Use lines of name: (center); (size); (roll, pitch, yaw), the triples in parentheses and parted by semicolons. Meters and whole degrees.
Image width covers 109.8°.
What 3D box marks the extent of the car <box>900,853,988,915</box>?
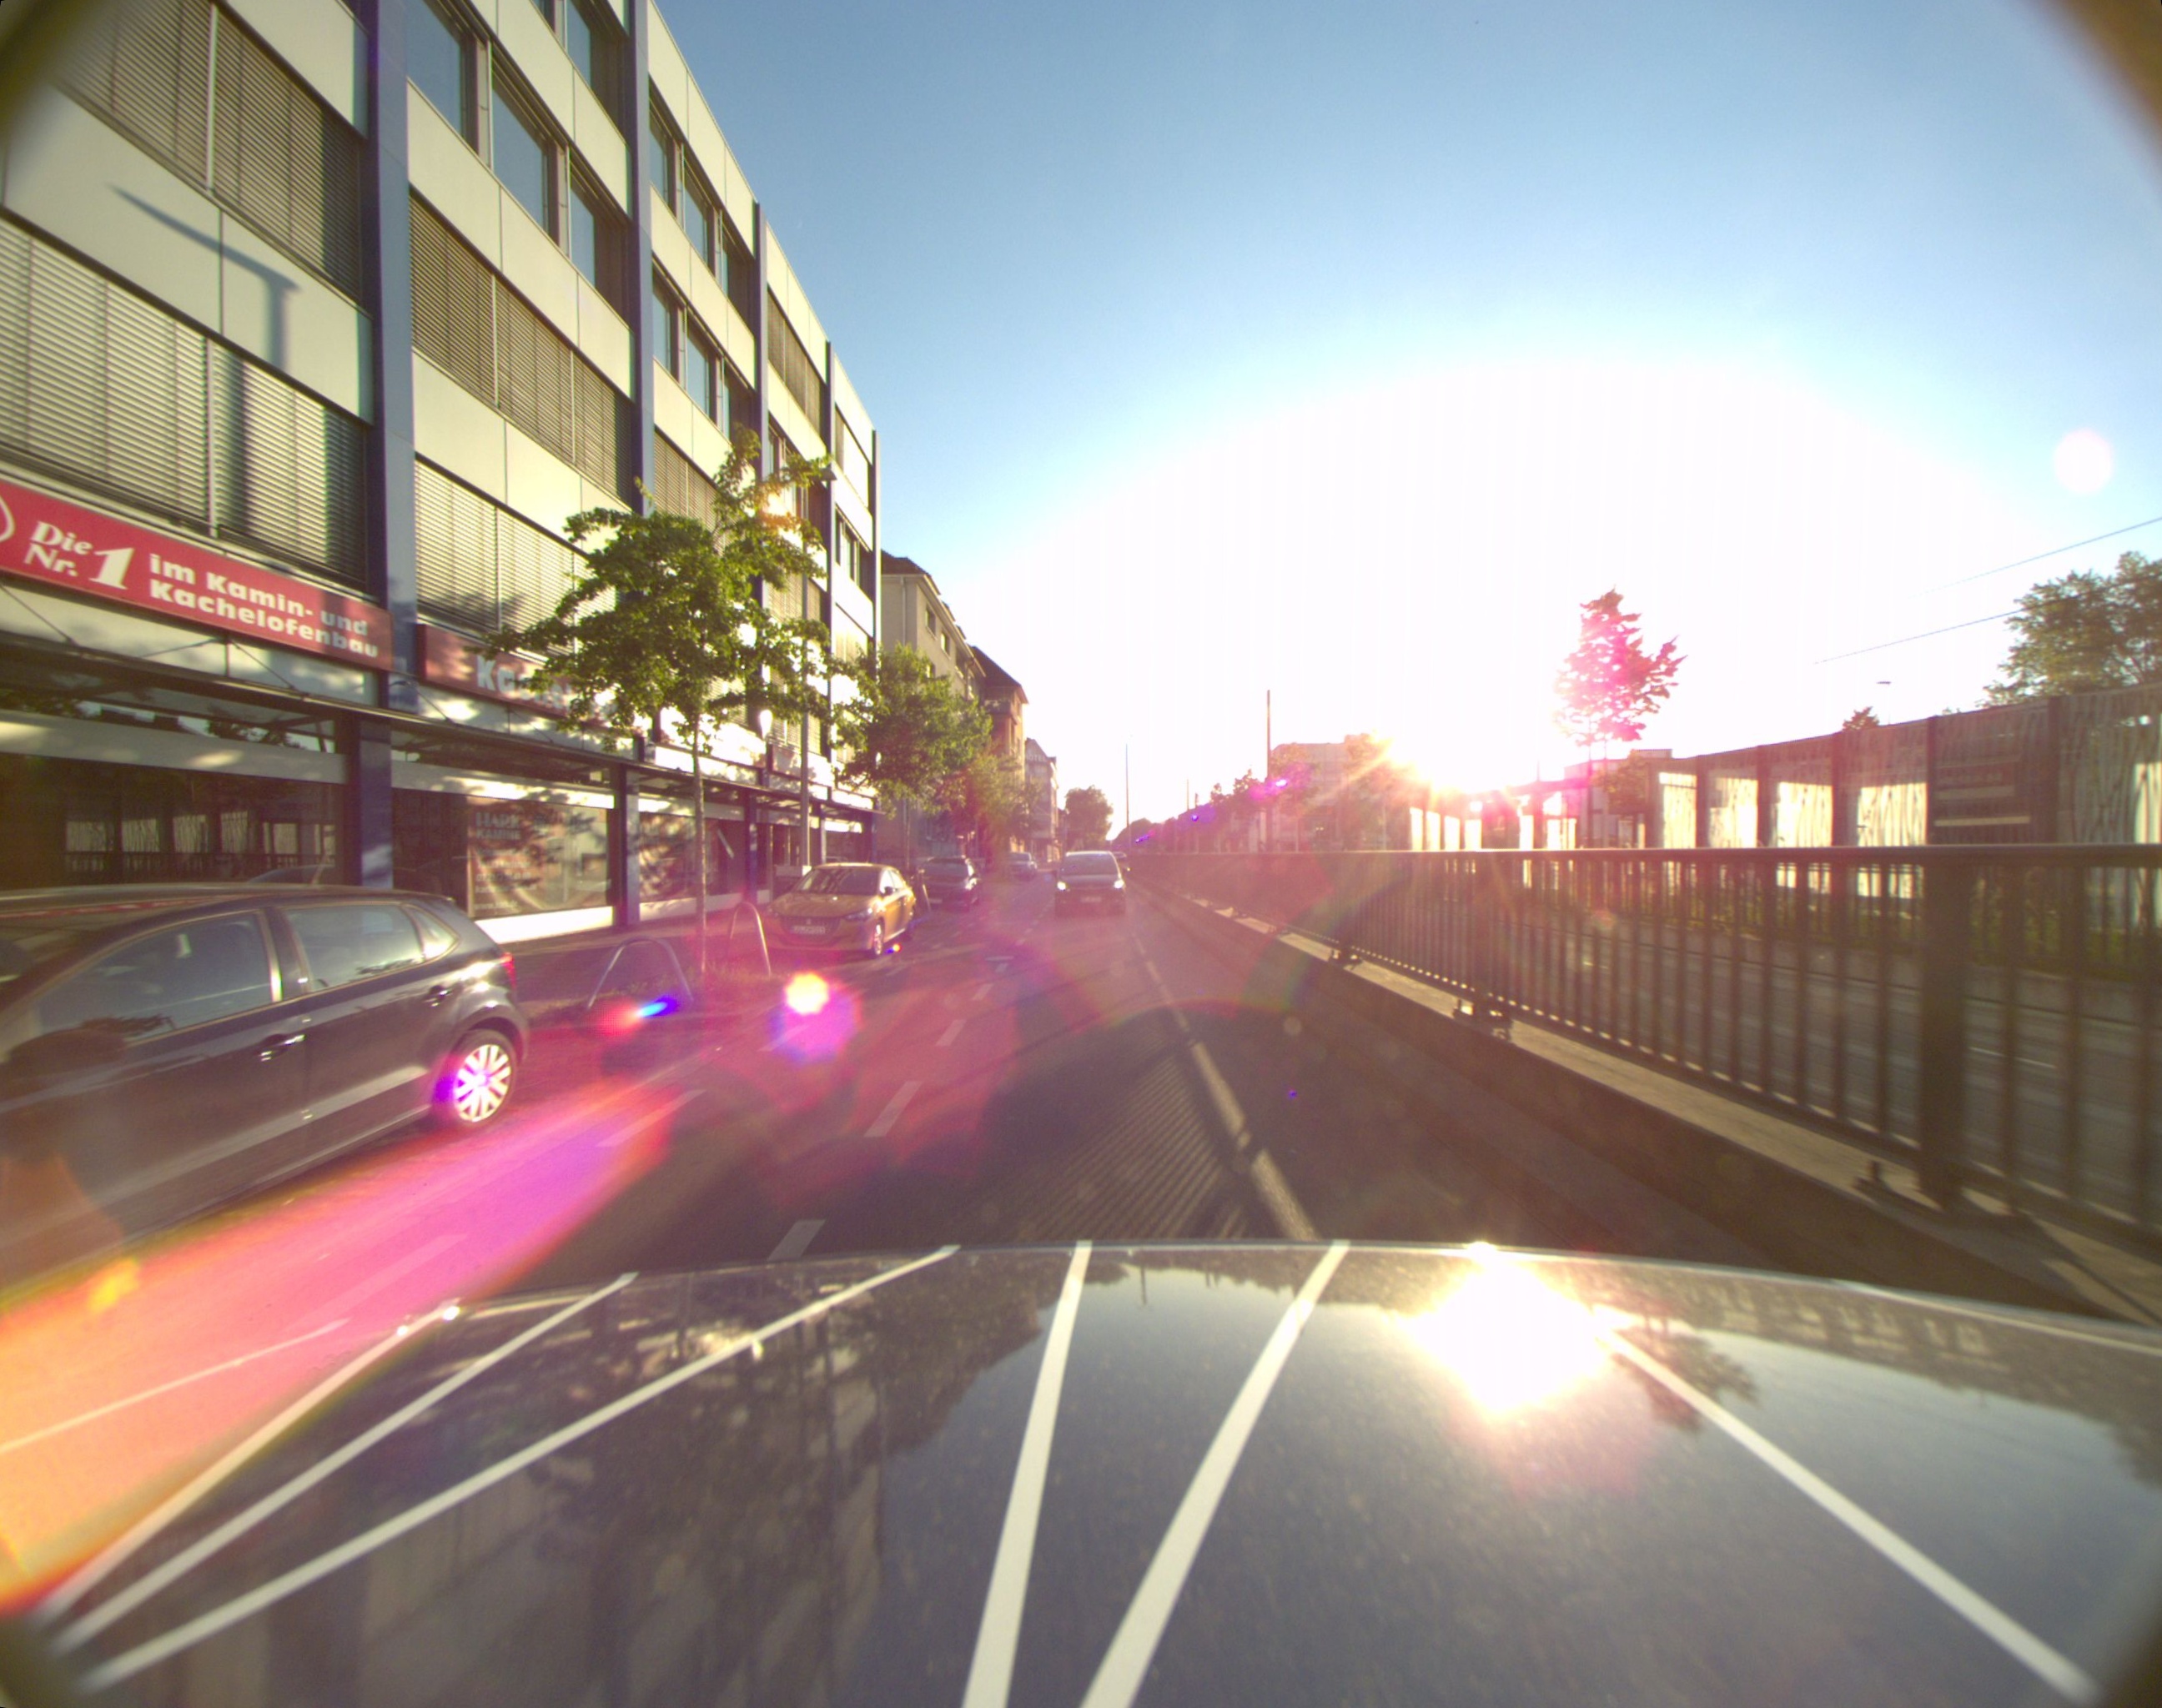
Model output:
car: (-3.973, 0.817, 22.839); (1.824, 1.557, 4.809); (3, 0, -1)

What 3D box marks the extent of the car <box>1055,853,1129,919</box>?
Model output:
car: (0.264, 0.782, 20.682); (1.800, 1.609, 4.386); (0, 0, 0)

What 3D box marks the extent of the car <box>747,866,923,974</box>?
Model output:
car: (-3.965, 0.986, 13.000); (1.688, 1.446, 4.129); (0, 1, 0)

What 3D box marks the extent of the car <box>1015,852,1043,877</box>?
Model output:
car: (-3.467, 0.670, 51.110); (1.674, 1.509, 3.600); (3, 0, -1)

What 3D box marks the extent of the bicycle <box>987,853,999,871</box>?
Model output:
bicycle: (-5.824, 0.544, 50.488); (0.555, 1.123, 1.973); (3, 1, -1)

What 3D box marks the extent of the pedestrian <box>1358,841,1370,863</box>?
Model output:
pedestrian: (22.913, -0.149, 61.554); (0.696, 1.788, 0.817); (-1, 1, 3)

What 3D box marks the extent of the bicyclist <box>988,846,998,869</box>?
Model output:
bicyclist: (-5.815, 0.221, 50.435); (0.559, 1.467, 0.622); (3, 1, -1)

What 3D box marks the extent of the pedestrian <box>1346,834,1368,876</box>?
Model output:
pedestrian: (11.509, 0.039, 31.680); (0.636, 1.719, 0.635); (0, 1, -12)

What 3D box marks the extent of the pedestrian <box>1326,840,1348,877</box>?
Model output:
pedestrian: (12.132, 0.219, 36.031); (0.727, 1.734, 0.636); (-1, 0, -7)

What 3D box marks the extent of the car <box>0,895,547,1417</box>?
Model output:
car: (-4.277, 1.010, 2.801); (1.824, 1.446, 4.127); (0, 1, -2)

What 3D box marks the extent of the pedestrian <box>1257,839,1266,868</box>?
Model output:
pedestrian: (11.259, -0.030, 47.376); (0.472, 1.776, 0.626); (-1, 1, 8)

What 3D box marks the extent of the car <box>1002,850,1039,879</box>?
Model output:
car: (-3.587, 0.593, 45.601); (1.761, 1.644, 4.528); (2, 0, 1)
